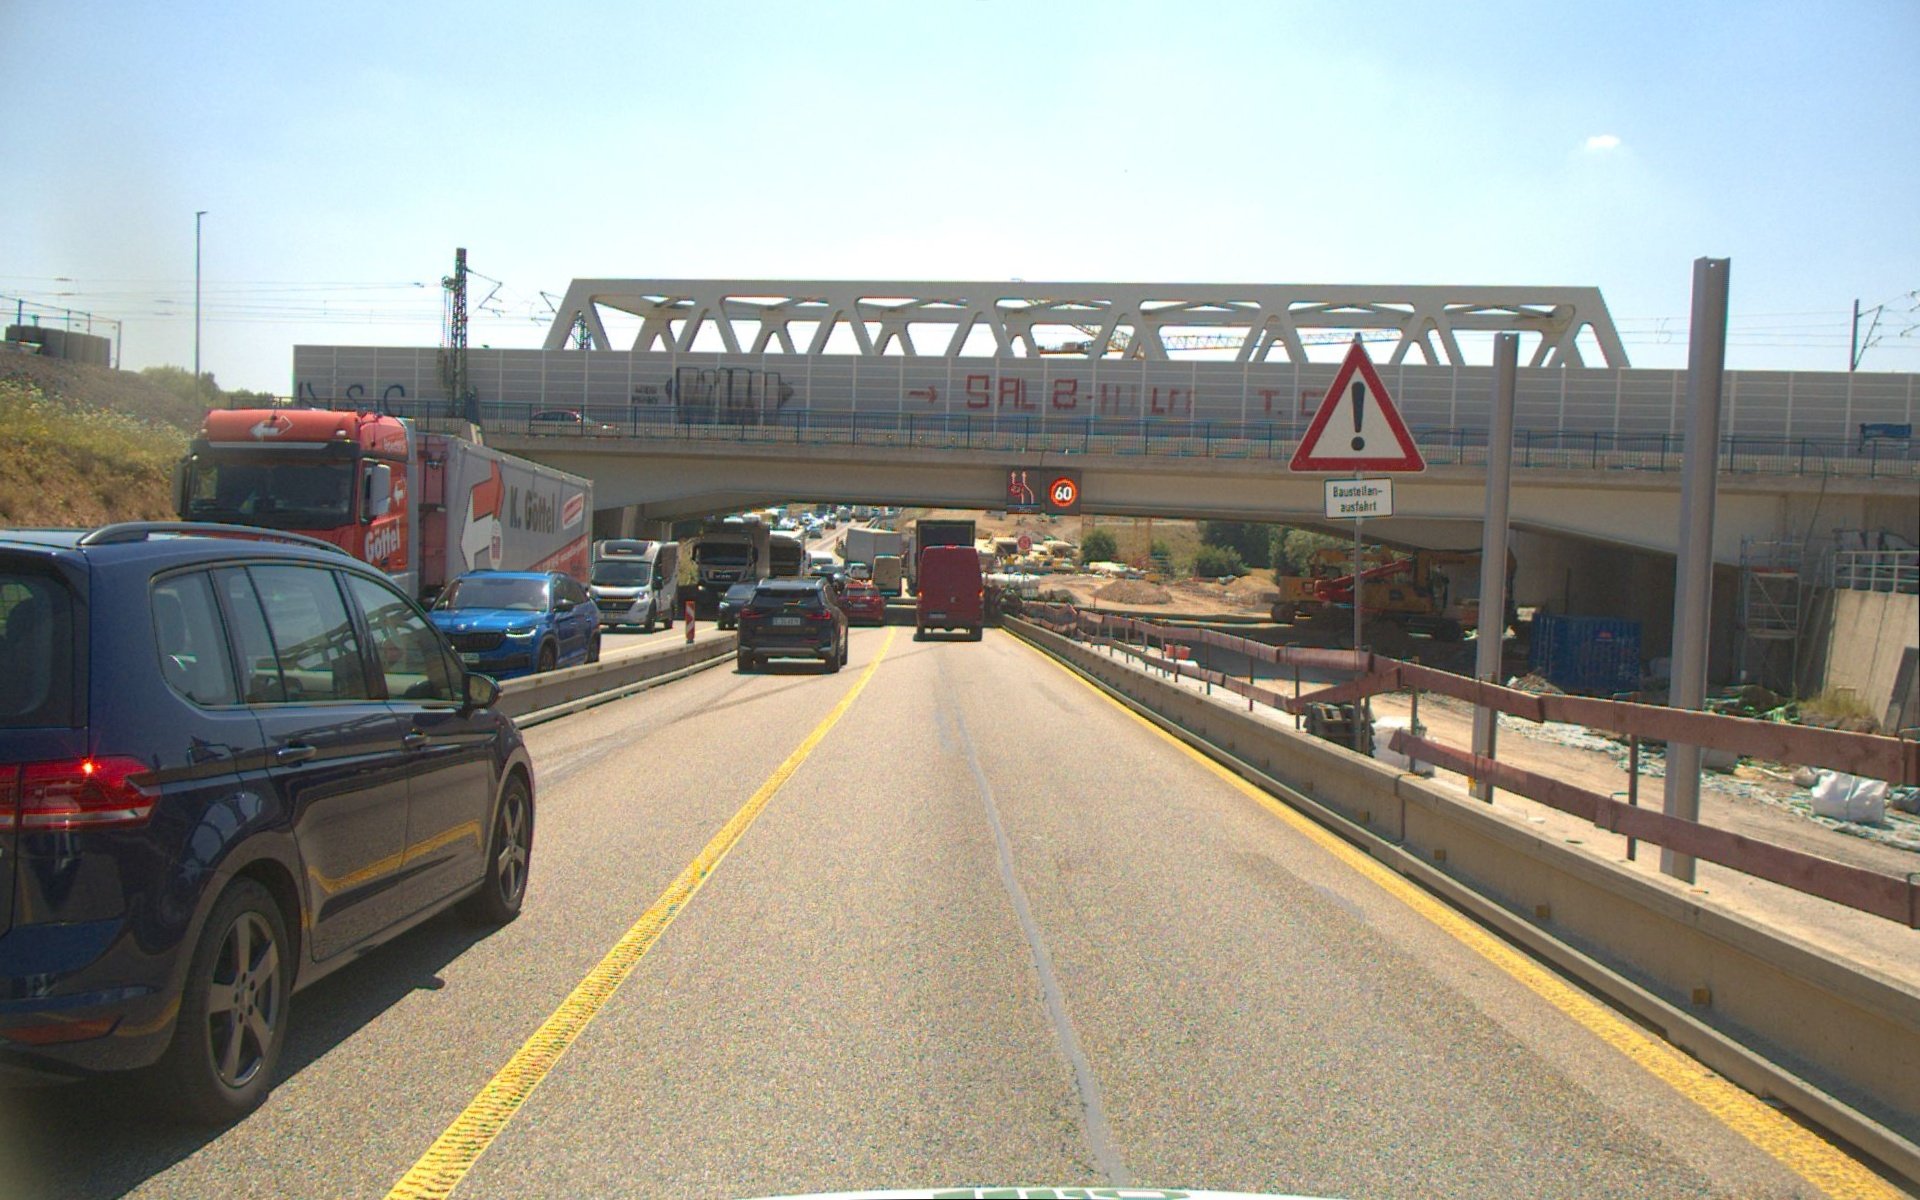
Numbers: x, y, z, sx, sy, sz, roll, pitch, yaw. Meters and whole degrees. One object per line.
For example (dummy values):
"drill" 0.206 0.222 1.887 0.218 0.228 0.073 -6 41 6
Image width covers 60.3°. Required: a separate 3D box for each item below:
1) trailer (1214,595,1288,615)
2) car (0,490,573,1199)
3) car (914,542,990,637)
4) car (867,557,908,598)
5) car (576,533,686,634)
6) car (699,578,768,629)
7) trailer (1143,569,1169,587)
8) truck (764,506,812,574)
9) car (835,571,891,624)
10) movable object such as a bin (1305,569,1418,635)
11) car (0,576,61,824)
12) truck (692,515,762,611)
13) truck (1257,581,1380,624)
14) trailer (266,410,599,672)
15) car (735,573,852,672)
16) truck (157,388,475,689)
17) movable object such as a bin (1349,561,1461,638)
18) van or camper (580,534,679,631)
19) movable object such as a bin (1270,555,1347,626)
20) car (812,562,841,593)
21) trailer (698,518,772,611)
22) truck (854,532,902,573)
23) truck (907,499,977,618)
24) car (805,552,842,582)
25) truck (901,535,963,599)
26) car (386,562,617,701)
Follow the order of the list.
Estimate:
"trailer" 19.825 0.344 112.847 4.618 1.241 2.055 1 0 -1
"car" -2.741 0.564 5.790 1.698 1.664 4.389 1 0 0
"car" -0.266 -0.287 49.674 2.106 2.656 5.437 1 0 -1
"car" -4.799 -1.538 108.899 2.222 2.395 5.154 1 4 -7
"car" -9.965 -0.462 50.627 2.229 2.870 6.556 1 0 -2
"car" -7.402 0.076 54.344 1.718 1.544 4.186 1 1 -1
"trailer" 17.608 -1.977 148.944 1.592 1.511 3.823 1 2 -5
"truck" -11.281 -3.884 109.078 2.605 4.243 5.185 1 0 -1
"car" -3.503 -0.107 60.225 1.796 1.808 4.389 1 0 -1
"movable object such as a bin" 20.532 0.111 84.741 5.130 3.110 2.497 3 0 3
"car" -6.610 0.583 8.035 1.795 1.454 4.537 1 0 3
"truck" -10.656 -1.633 75.934 2.742 4.222 4.071 1 0 -3
"truck" 20.339 0.113 94.116 6.386 2.109 2.666 2 1 2
"trailer" -9.207 -0.866 30.755 2.602 3.882 11.817 1 0 -1
"car" -3.004 0.370 30.610 1.796 1.664 4.388 1 0 -2
"truck" -9.196 -0.793 24.292 2.532 3.895 5.380 1 0 -1
"movable object such as a bin" 20.794 -0.009 77.482 4.459 3.344 2.991 3 0 3
"van or camper" -10.019 -0.521 50.657 2.081 2.752 6.451 1 0 -3
"movable object such as a bin" 18.655 -0.485 88.785 3.799 3.604 2.905 3 0 10
"car" -8.868 -1.502 110.132 1.764 1.966 4.966 1 1 -3
"trailer" -10.832 -1.629 80.366 2.756 4.247 8.239 1 0 -2
"truck" -7.507 -4.244 149.941 3.161 3.419 8.918 1 0 -10
"truck" -0.880 -1.972 73.805 2.885 5.030 6.742 1 3 -2
"car" -11.470 -2.765 138.593 1.948 2.370 6.033 1 1 -15
"truck" -1.979 -2.291 113.226 3.125 4.058 6.727 1 3 -11
"car" -6.154 0.375 22.795 1.796 1.693 4.685 1 0 1
